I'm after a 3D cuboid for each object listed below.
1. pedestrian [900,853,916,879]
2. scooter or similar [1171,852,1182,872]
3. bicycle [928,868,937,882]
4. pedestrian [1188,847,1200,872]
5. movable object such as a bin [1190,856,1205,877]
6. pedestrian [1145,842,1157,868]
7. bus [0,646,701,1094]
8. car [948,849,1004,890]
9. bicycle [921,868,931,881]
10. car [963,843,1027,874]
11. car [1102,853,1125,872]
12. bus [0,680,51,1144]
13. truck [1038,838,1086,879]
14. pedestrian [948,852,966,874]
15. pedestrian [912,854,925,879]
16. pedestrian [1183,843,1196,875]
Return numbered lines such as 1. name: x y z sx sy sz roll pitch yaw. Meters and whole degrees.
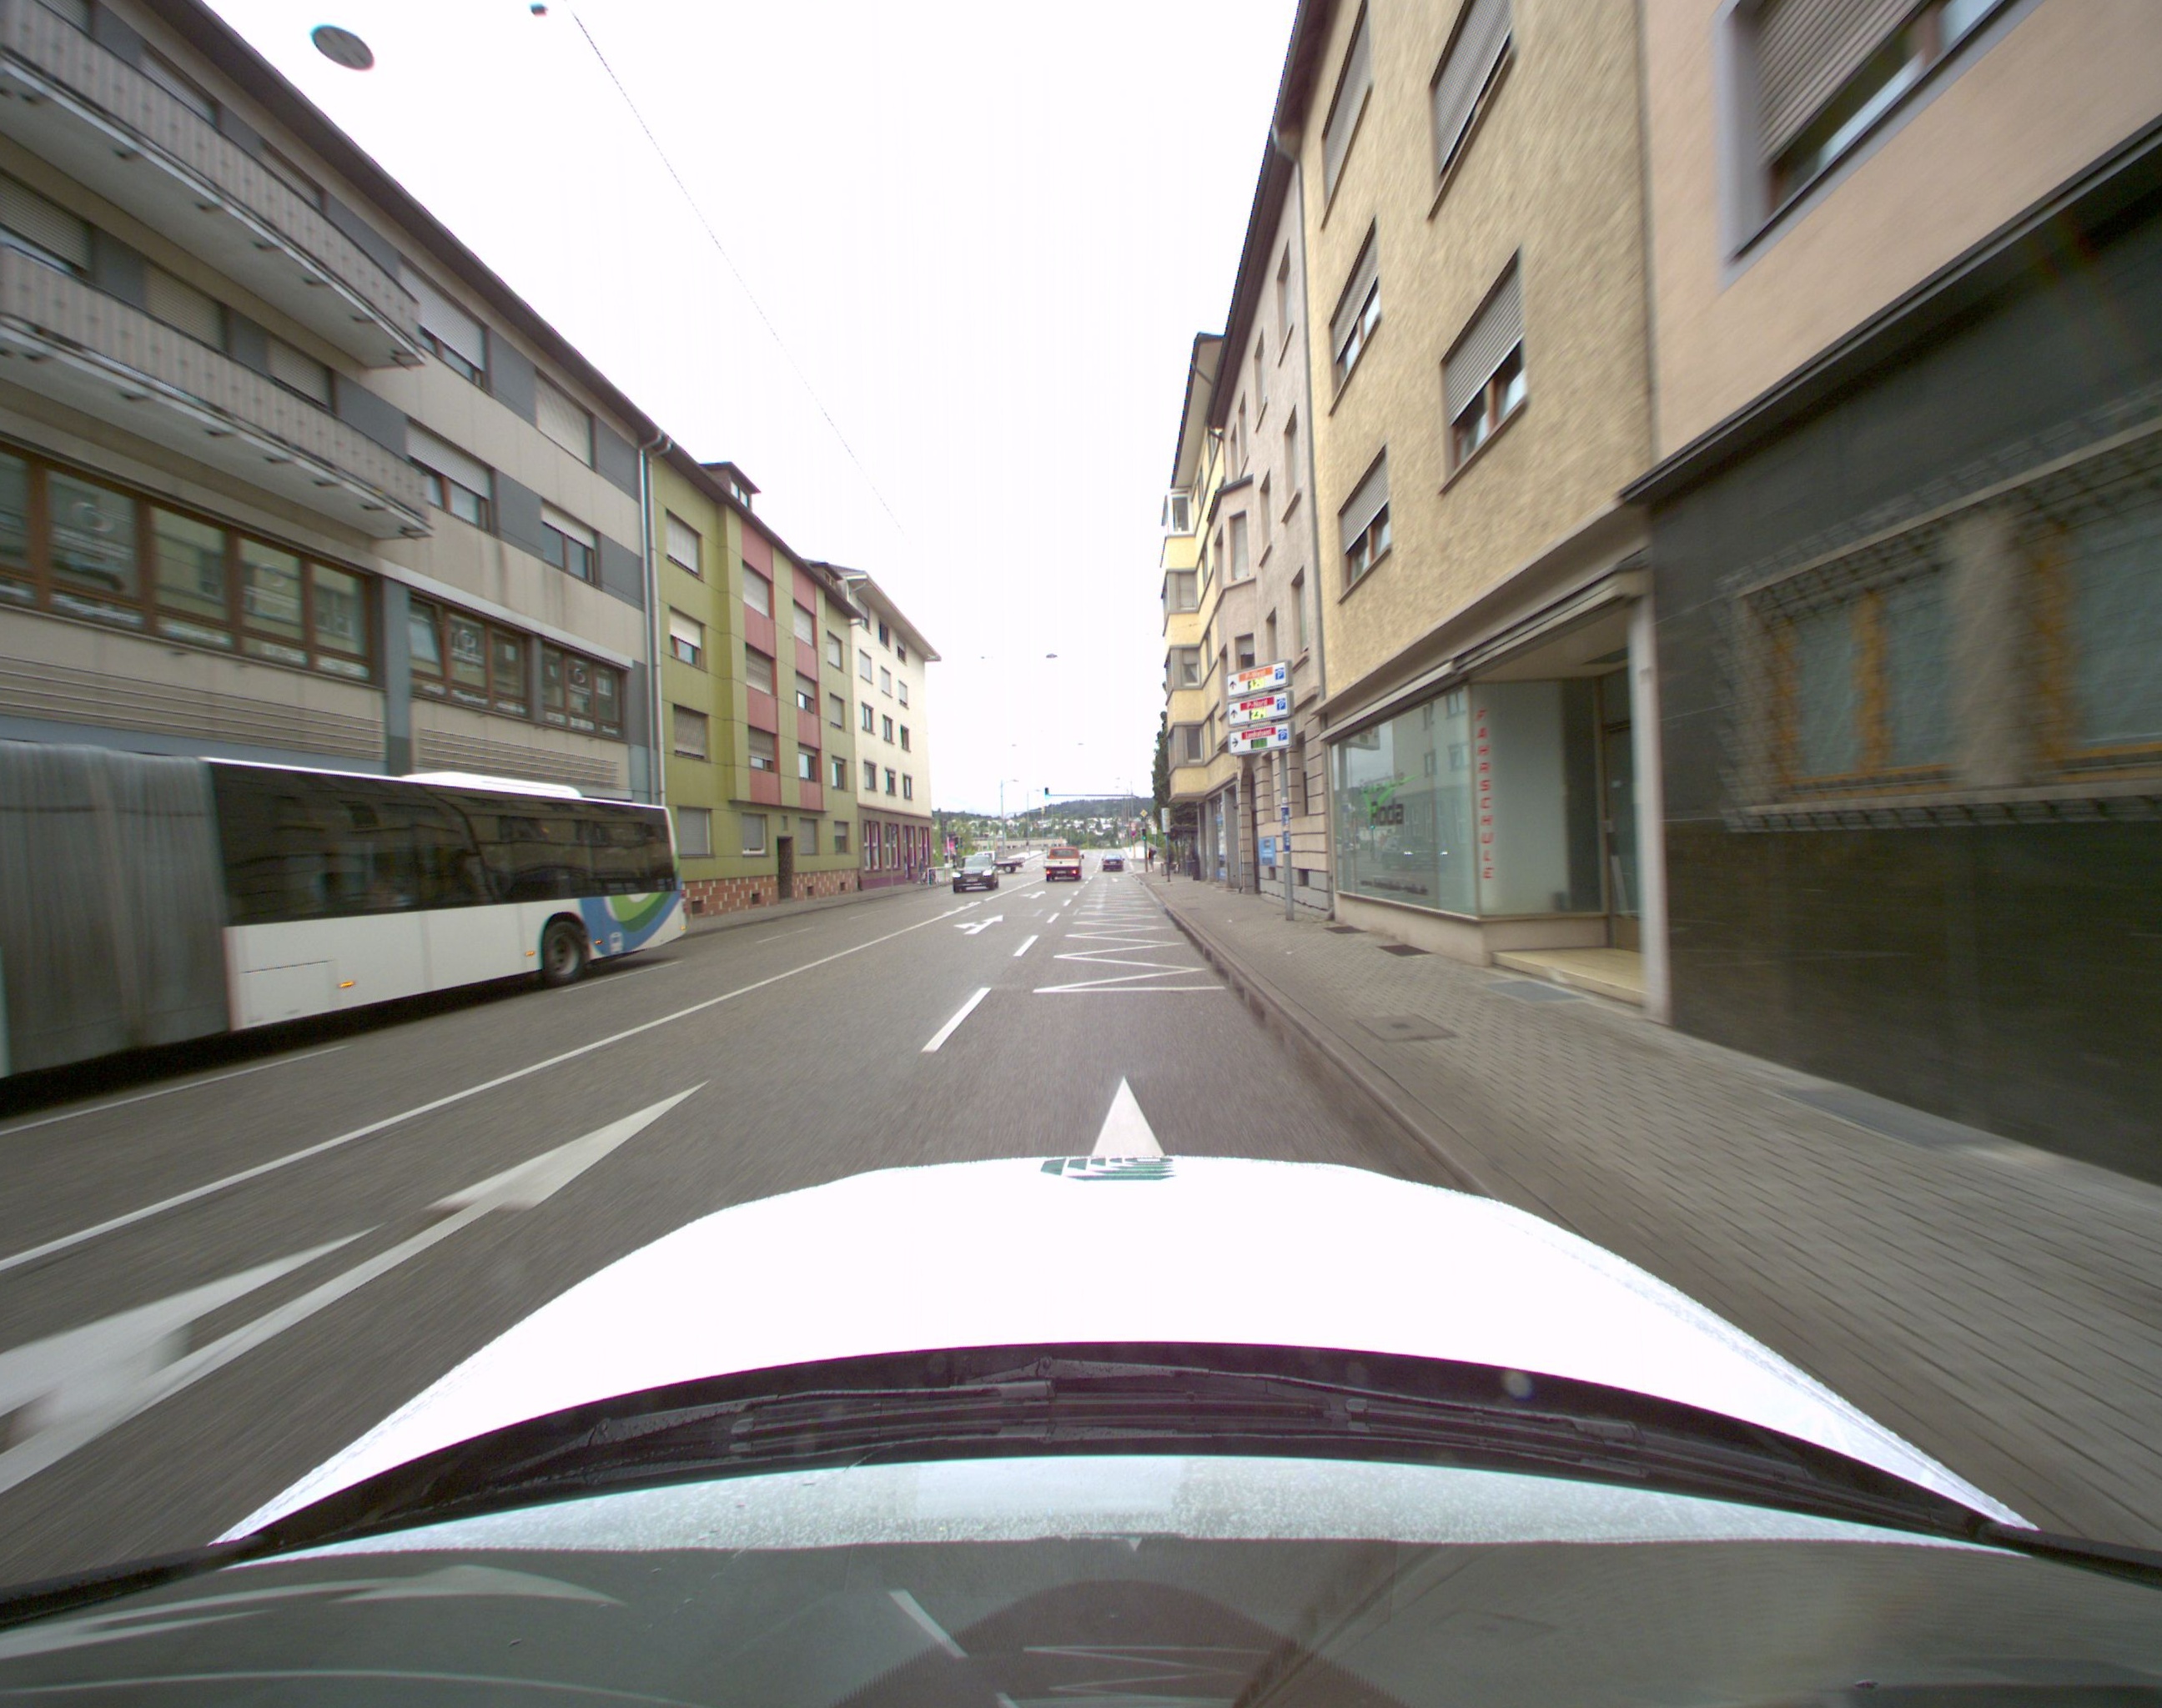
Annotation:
1. pedestrian: -10.986 0.761 51.719 0.770 1.577 0.589 -3 -1 1
2. scooter or similar: 5.884 0.481 50.232 0.509 1.172 1.550 -3 0 2
3. bicycle: -9.120 1.293 50.117 0.263 0.783 1.112 -3 0 2
4. pedestrian: 6.445 0.289 46.560 0.562 1.396 0.514 -3 -1 -1
5. movable object such as a bin: 5.340 0.561 37.396 0.598 0.926 0.705 -3 -1 2
6. pedestrian: 4.983 0.063 57.665 0.730 1.841 0.631 -3 -1 0
7. bus: -8.659 0.189 10.485 2.715 3.188 9.297 -3 0 2
8. car: -4.928 0.718 38.767 1.924 1.757 4.573 -3 0 0
9. bicycle: -9.514 1.248 49.928 0.263 0.783 1.422 -3 0 2
10. car: -7.291 0.406 69.434 4.968 2.350 2.003 -3 -1 5
11. car: 2.648 0.678 66.339 1.747 1.479 4.002 -3 0 2
12. bus: -8.981 0.431 1.411 2.748 3.188 8.916 -3 0 2
13. truck: -1.012 0.251 47.725 2.391 2.129 5.317 -3 0 2
14. pedestrian: -11.537 0.818 75.909 0.973 2.013 1.181 -3 -1 41
15. pedestrian: -10.271 0.808 51.438 0.573 1.553 0.739 -3 -1 -1
16. pedestrian: 6.052 0.275 45.369 0.616 1.699 0.657 -3 -1 6
